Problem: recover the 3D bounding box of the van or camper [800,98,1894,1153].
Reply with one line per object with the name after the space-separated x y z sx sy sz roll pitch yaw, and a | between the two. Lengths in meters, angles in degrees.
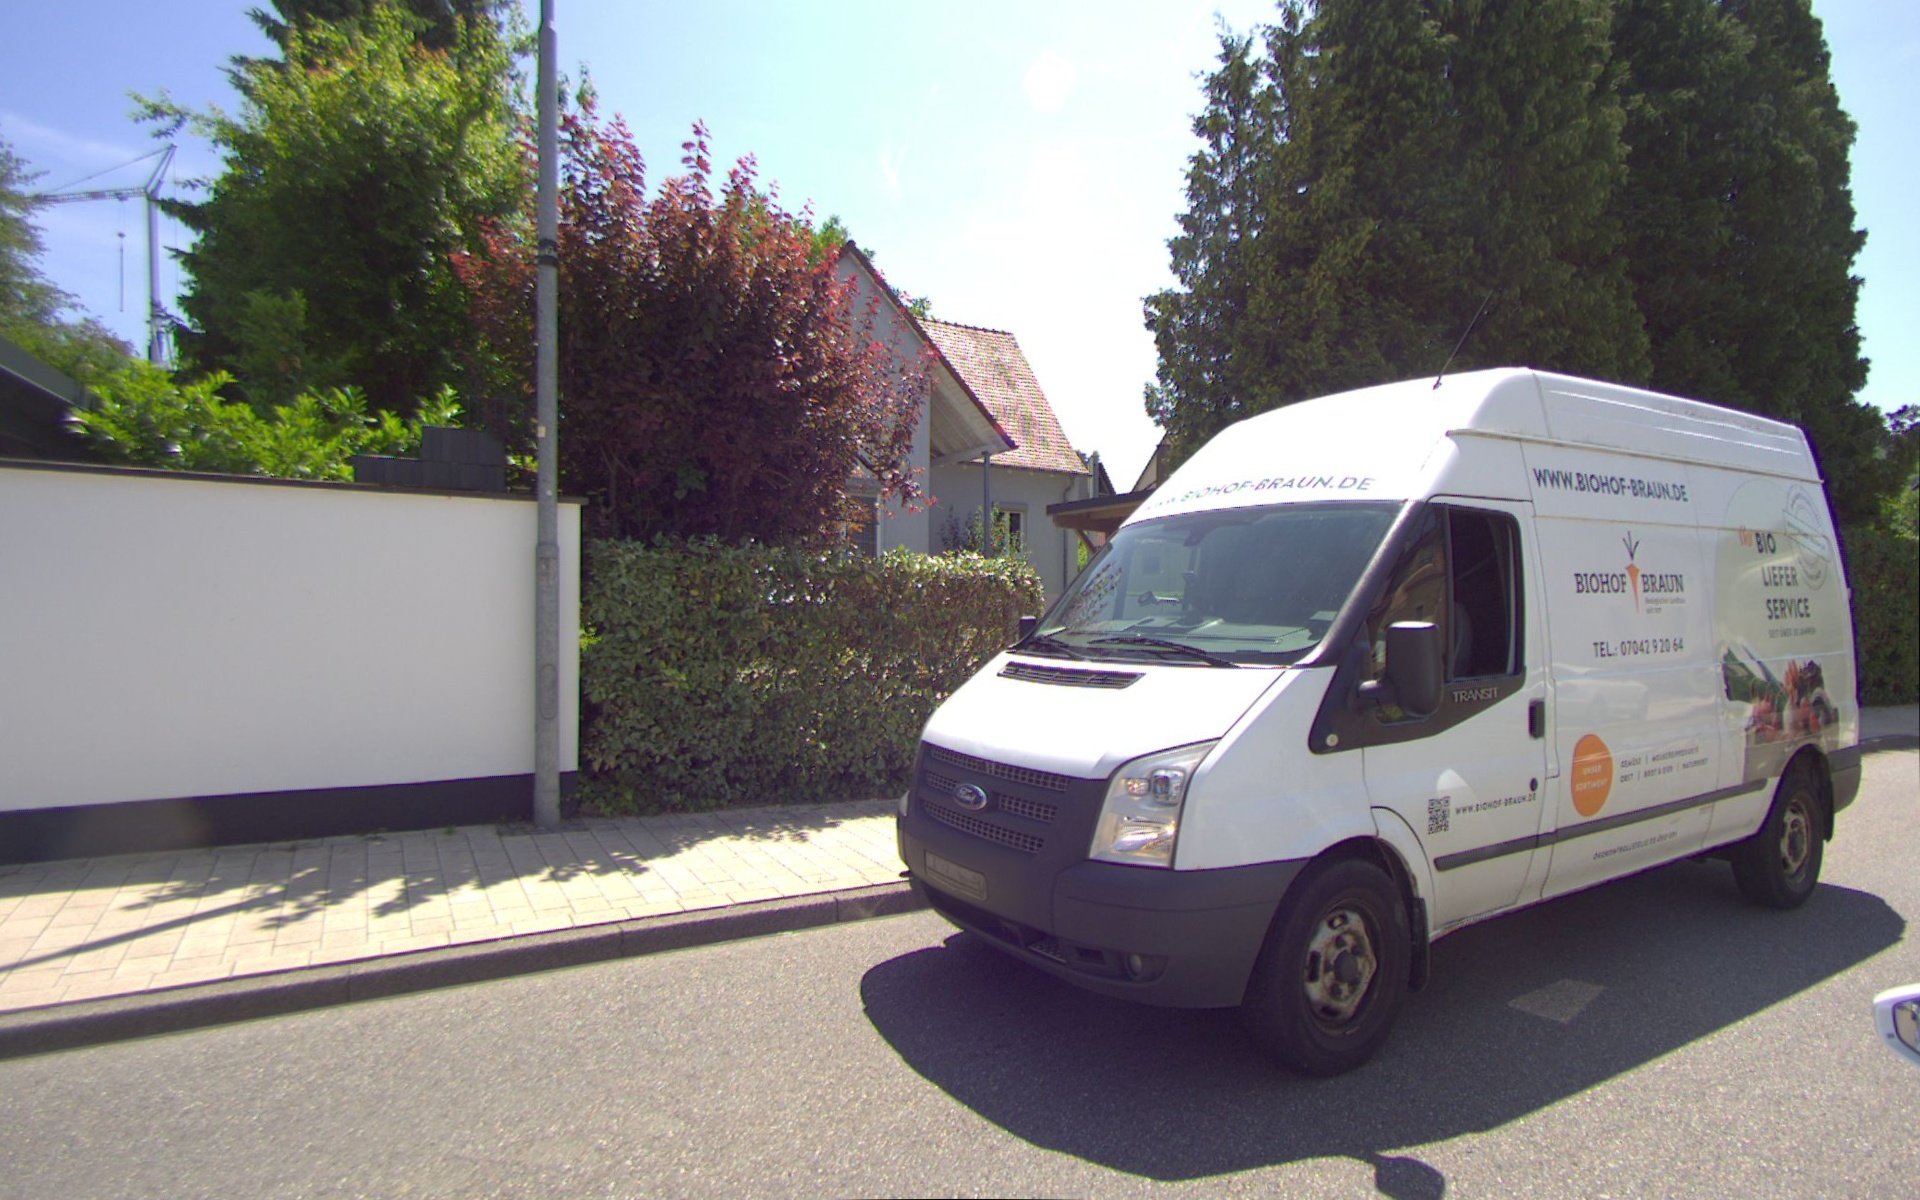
2.305 0.171 5.012 5.759 2.749 2.027 2 -2 -32 | van or camper
